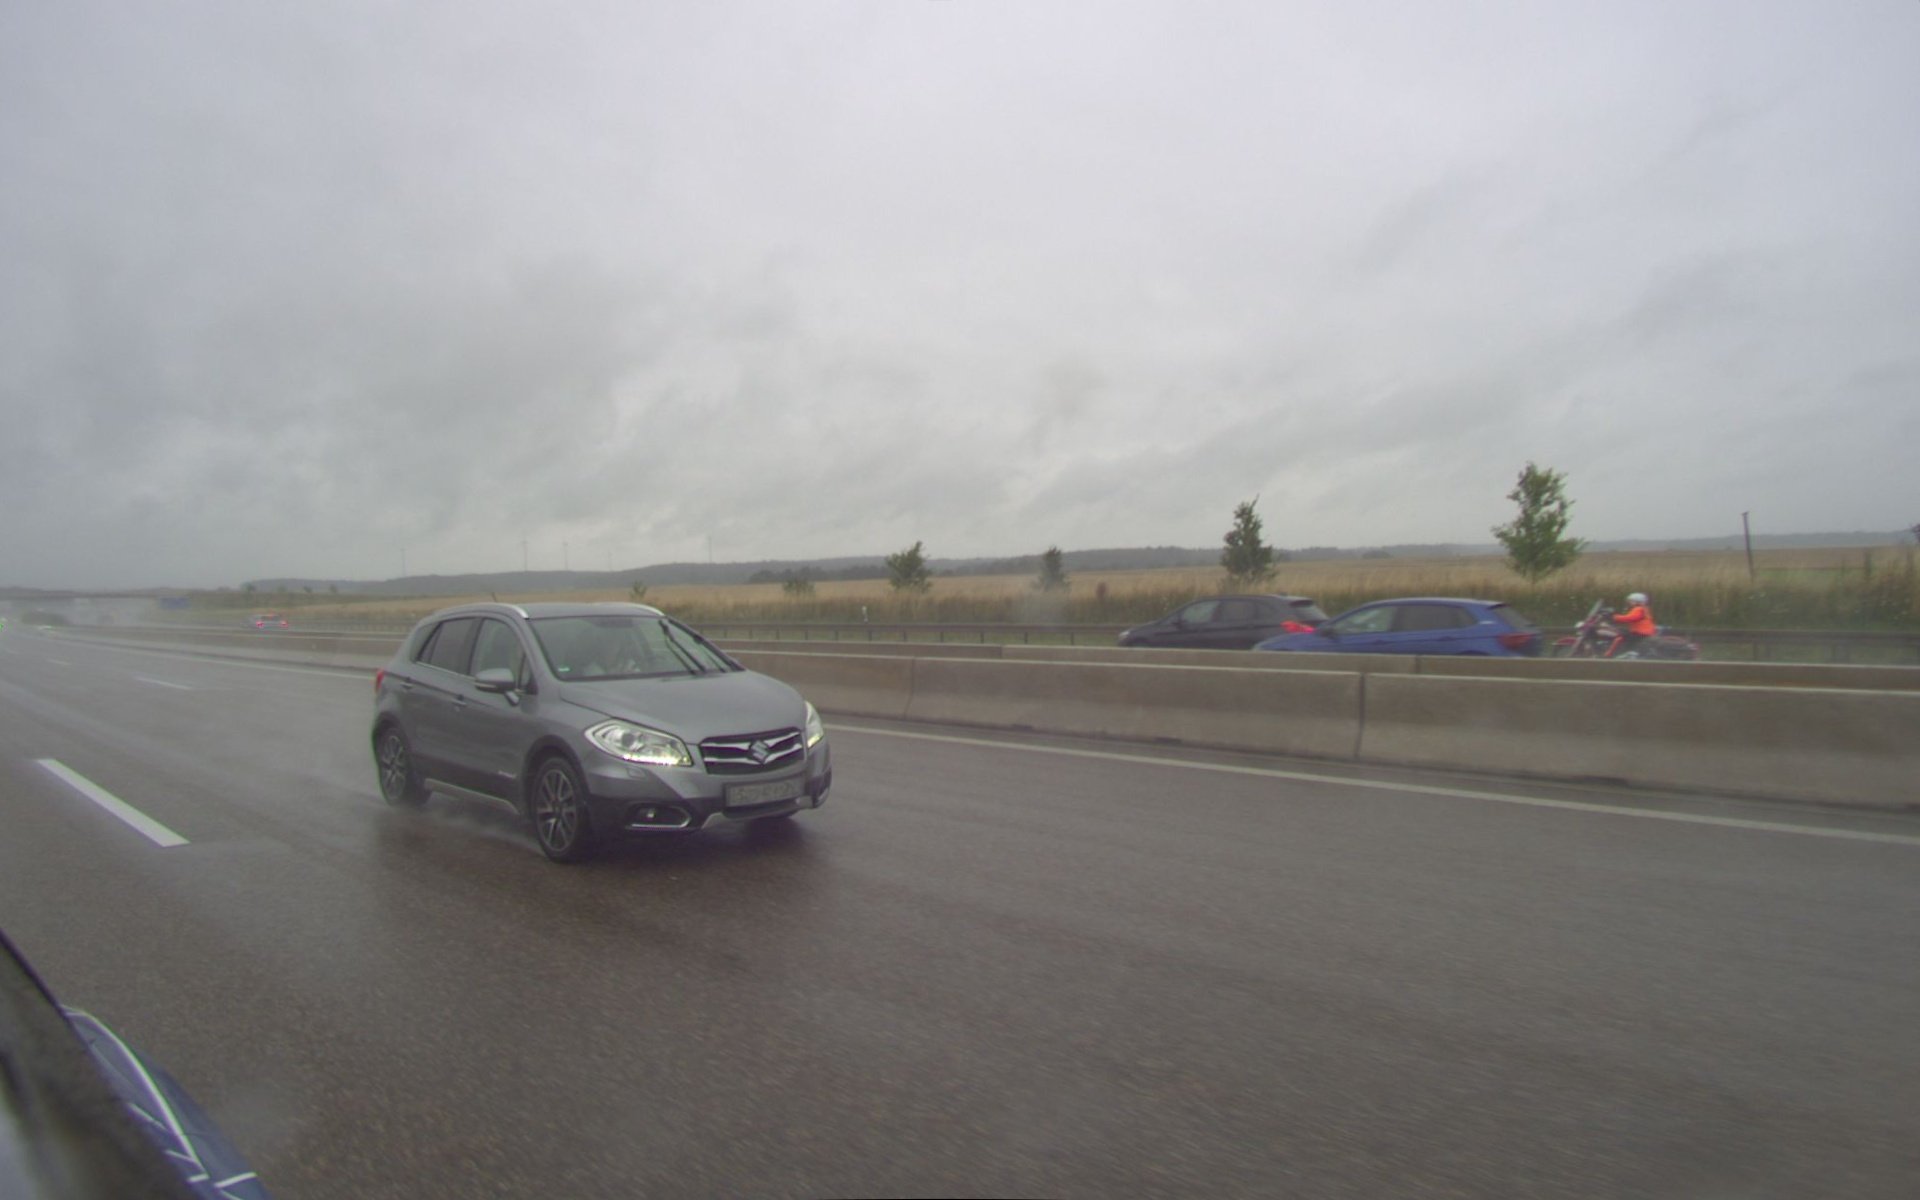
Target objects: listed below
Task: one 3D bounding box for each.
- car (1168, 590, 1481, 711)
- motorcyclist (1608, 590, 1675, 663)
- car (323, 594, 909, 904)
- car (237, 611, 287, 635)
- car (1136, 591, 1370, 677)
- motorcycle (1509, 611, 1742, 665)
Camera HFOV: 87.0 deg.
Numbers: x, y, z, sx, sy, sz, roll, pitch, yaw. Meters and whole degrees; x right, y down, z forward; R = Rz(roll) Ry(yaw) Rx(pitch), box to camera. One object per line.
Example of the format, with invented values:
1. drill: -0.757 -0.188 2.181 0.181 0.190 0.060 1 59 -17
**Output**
1. car: 5.409 0.694 15.294 4.083 1.586 1.801 -1 -1 40
2. motorcyclist: 12.594 0.477 18.699 0.940 1.318 0.741 -1 -1 40
3. car: -2.720 0.770 7.279 4.753 1.524 1.827 -1 0 41
4. car: -47.452 1.575 68.751 4.000 1.564 1.972 -1 -1 43
5. car: 5.549 0.615 19.452 3.999 1.497 1.677 -1 -1 42
6. motorcycle: 12.344 0.690 18.925 3.543 0.920 0.909 -1 -1 42
